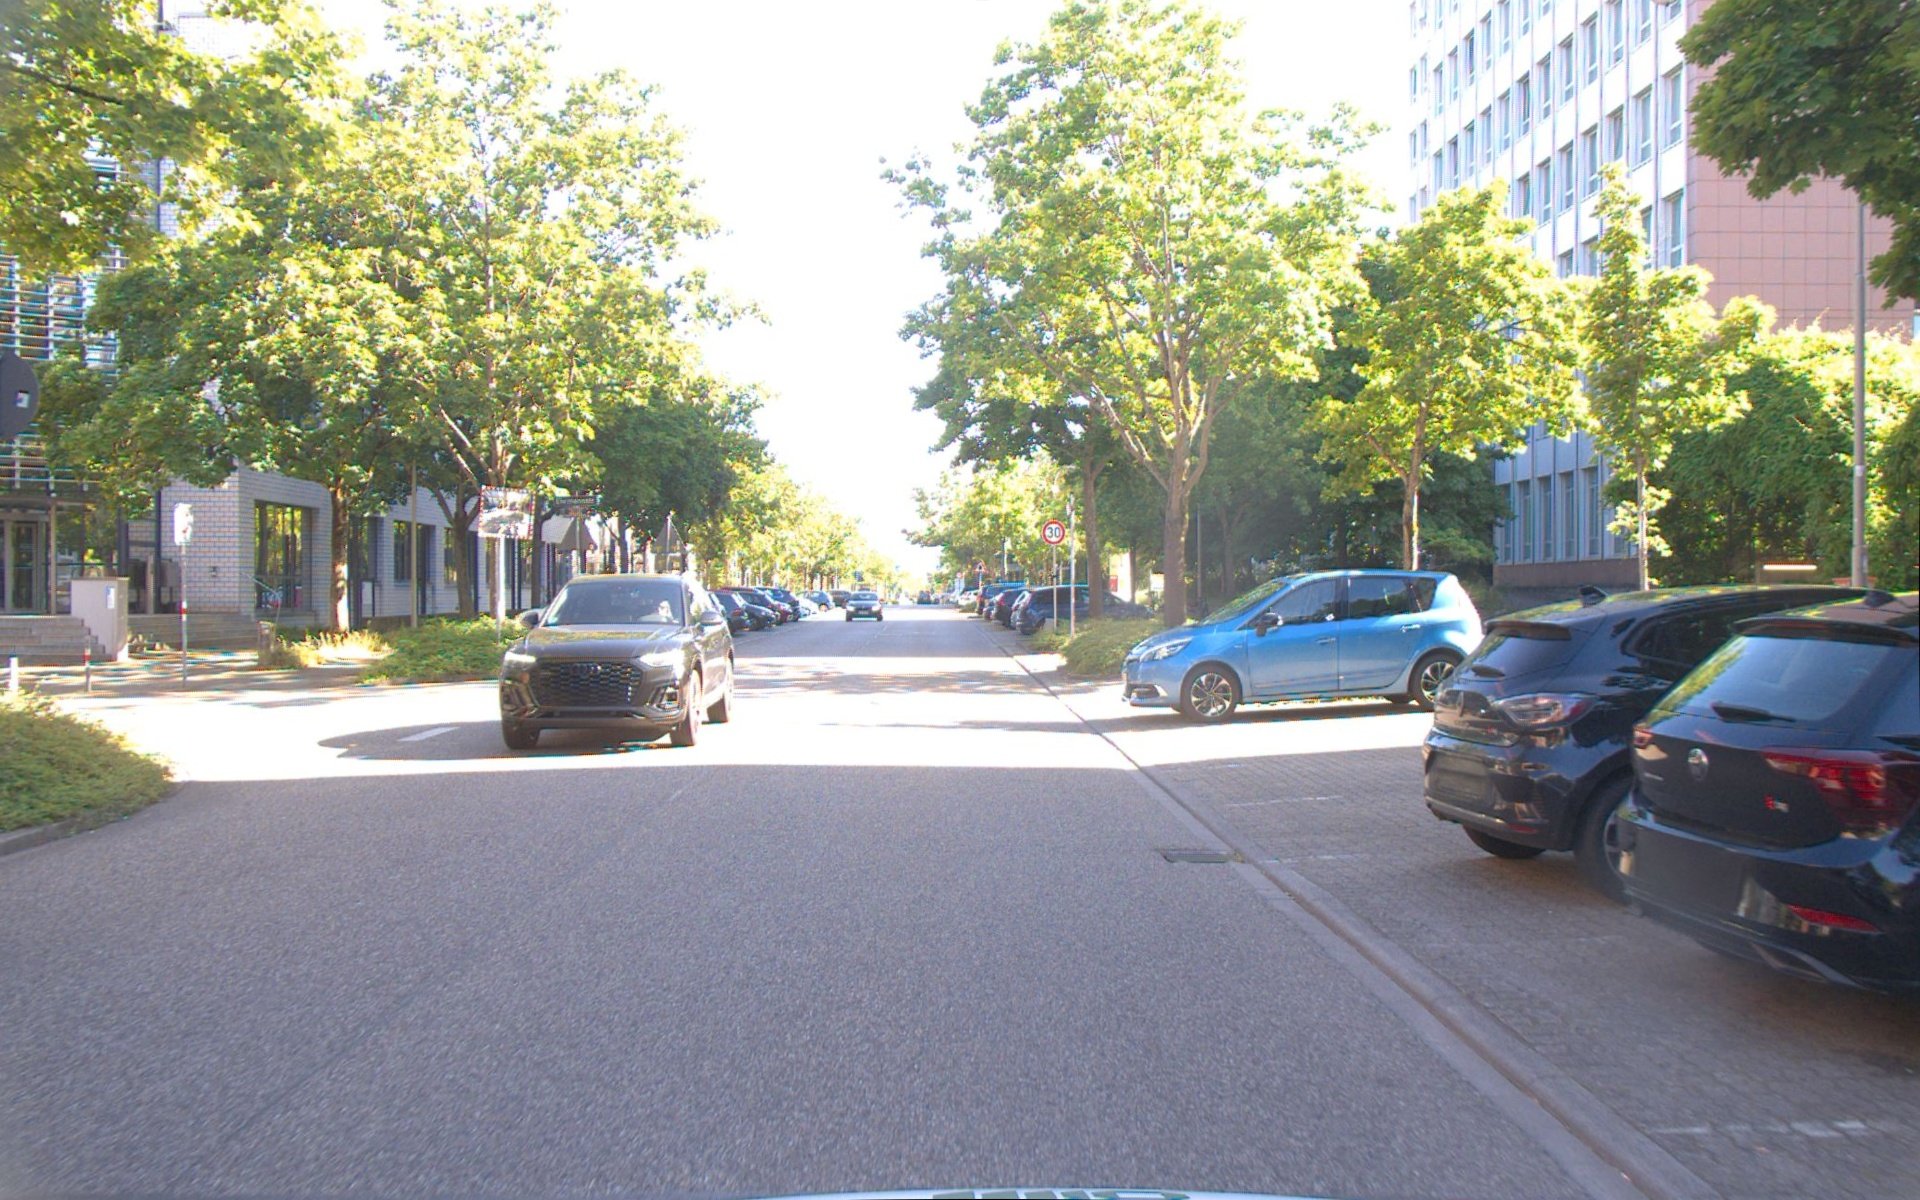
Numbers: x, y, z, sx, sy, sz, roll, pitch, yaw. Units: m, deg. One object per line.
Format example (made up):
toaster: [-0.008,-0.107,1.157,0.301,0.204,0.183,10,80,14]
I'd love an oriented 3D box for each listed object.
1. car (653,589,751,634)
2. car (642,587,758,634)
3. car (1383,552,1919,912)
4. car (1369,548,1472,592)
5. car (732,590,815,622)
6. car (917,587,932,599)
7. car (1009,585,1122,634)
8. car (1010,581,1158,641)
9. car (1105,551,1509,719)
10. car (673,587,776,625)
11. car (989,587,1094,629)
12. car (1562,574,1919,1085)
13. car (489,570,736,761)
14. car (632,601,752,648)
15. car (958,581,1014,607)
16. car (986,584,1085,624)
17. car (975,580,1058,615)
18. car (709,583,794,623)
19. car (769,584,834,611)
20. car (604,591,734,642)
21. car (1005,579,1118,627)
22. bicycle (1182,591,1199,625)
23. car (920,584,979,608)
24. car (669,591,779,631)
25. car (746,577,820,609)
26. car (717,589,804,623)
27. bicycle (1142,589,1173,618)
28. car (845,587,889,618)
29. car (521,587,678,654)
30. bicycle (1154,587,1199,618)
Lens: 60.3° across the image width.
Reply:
car: [-9.227,0.407,59.369,3.353,1.488,1.694,1,1,-6]
car: [-8.980,0.353,57.363,3.790,1.482,1.753,1,2,-4]
car: [4.350,0.564,8.581,3.769,1.509,1.824,-3,1,-2]
car: [20.456,-1.325,73.564,3.993,1.814,1.998,1,0,-5]
car: [-8.952,0.273,79.575,3.814,1.489,1.857,0,0,-2]
car: [-4.798,-0.940,222.628,1.894,1.625,4.365,-1,0,-1]
car: [3.509,0.300,55.154,3.563,1.492,1.632,-2,0,-3]
car: [3.696,0.312,49.743,4.183,1.662,1.857,-1,0,-4]
car: [4.025,0.386,19.687,4.317,1.646,1.911,-3,1,-2]
car: [-9.250,0.233,64.973,3.914,1.431,1.602,1,0,-10]
car: [3.255,0.294,66.179,3.968,1.619,1.547,-1,0,-9]
car: [4.361,0.604,5.950,3.728,1.433,1.700,-3,1,-7]
car: [-3.457,0.577,17.262,1.854,1.713,4.350,-1,0,-3]
car: [-8.842,0.791,54.703,3.685,1.470,1.631,1,0,-1]
car: [1.878,-0.438,121.264,3.910,1.823,1.997,0,0,-6]
car: [3.122,0.178,68.913,3.963,1.517,1.549,-2,0,-3]
car: [2.720,-0.120,80.248,3.816,1.685,1.856,0,0,-5]
car: [-9.093,0.142,72.386,3.468,1.686,1.761,0,-1,0]
car: [-10.194,-0.166,106.594,3.904,1.683,1.861,-1,0,1]
car: [-8.756,0.474,50.049,3.657,1.489,1.676,0,0,-2]
car: [3.877,0.113,63.004,4.160,1.581,1.921,-3,0,3]
bicycle: [7.552,0.248,54.161,0.371,1.065,1.886,-2,0,4]
car: [-0.768,-0.286,114.611,3.910,1.653,1.997,0,0,-6]
car: [-8.858,0.418,62.251,3.907,1.437,1.665,1,0,-3]
car: [-9.377,-0.389,87.863,3.815,1.640,1.857,0,0,-3]
car: [-9.191,0.270,76.285,3.814,1.489,1.857,0,0,-2]
bicycle: [7.565,0.127,63.504,0.373,1.097,1.775,-1,0,-22]
car: [-4.587,0.105,81.943,1.775,1.440,4.109,0,1,2]
car: [-8.756,0.518,40.408,3.509,1.577,1.636,0,-2,-4]
bicycle: [7.782,0.099,59.503,0.377,1.097,1.759,-1,0,-42]
